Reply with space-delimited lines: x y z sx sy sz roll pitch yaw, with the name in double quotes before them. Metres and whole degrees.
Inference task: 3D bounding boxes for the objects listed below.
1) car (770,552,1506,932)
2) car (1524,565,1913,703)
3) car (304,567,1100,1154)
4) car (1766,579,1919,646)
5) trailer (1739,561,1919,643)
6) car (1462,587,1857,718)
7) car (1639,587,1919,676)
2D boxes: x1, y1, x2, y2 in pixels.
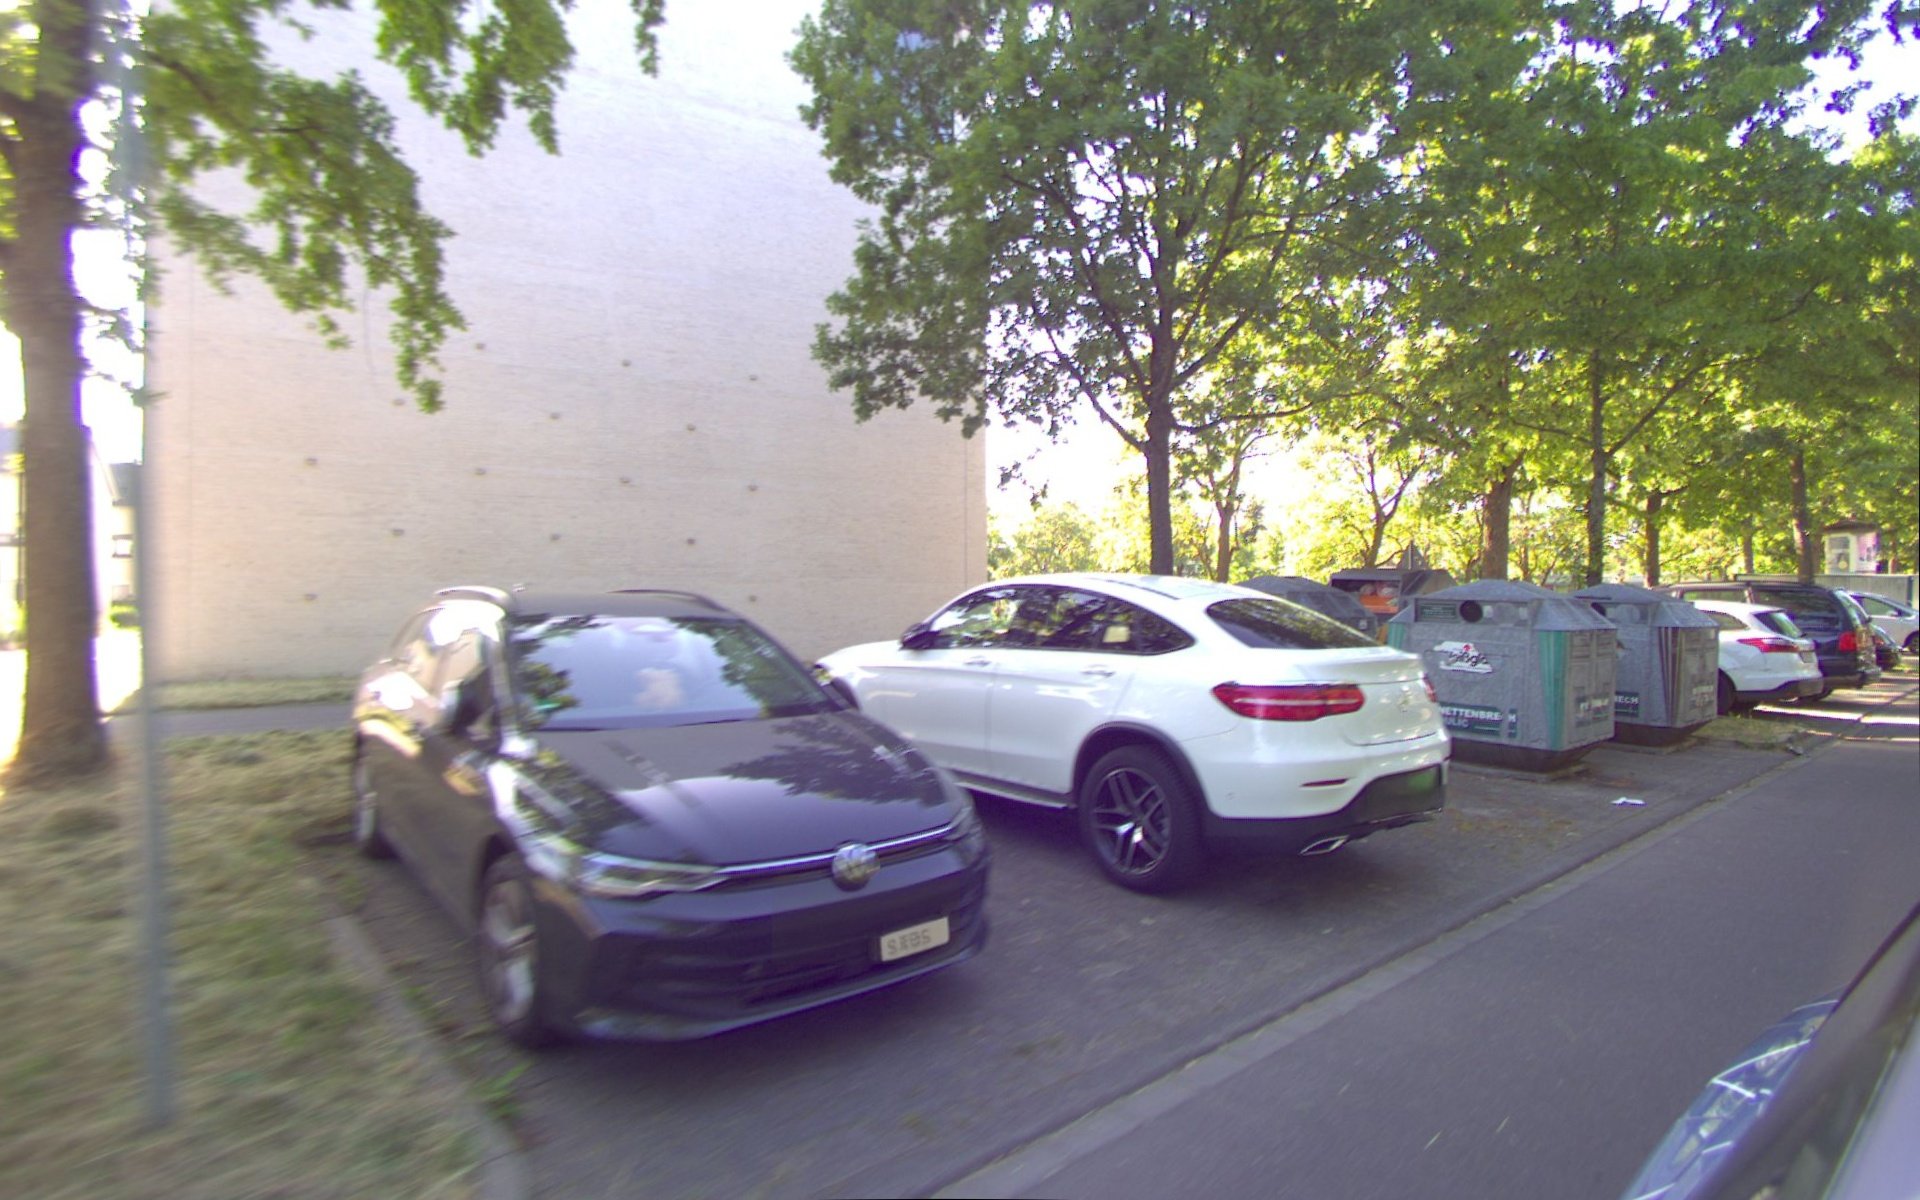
"car" 0.737 0.536 6.671 1.882 1.600 4.681 0 1 -40
"car" 11.567 0.392 15.727 1.902 1.823 4.539 0 1 -40
"car" -1.713 0.594 4.940 1.883 1.473 4.679 0 1 -41
"car" 25.879 0.326 28.521 1.952 1.744 4.653 0 2 -39
"trailer" 27.549 0.019 30.827 1.655 2.346 5.790 0 2 -38
"car" 9.605 0.596 14.209 1.767 1.490 4.231 0 1 -39
"car" 16.349 0.520 20.192 2.041 1.538 4.255 0 1 -39
